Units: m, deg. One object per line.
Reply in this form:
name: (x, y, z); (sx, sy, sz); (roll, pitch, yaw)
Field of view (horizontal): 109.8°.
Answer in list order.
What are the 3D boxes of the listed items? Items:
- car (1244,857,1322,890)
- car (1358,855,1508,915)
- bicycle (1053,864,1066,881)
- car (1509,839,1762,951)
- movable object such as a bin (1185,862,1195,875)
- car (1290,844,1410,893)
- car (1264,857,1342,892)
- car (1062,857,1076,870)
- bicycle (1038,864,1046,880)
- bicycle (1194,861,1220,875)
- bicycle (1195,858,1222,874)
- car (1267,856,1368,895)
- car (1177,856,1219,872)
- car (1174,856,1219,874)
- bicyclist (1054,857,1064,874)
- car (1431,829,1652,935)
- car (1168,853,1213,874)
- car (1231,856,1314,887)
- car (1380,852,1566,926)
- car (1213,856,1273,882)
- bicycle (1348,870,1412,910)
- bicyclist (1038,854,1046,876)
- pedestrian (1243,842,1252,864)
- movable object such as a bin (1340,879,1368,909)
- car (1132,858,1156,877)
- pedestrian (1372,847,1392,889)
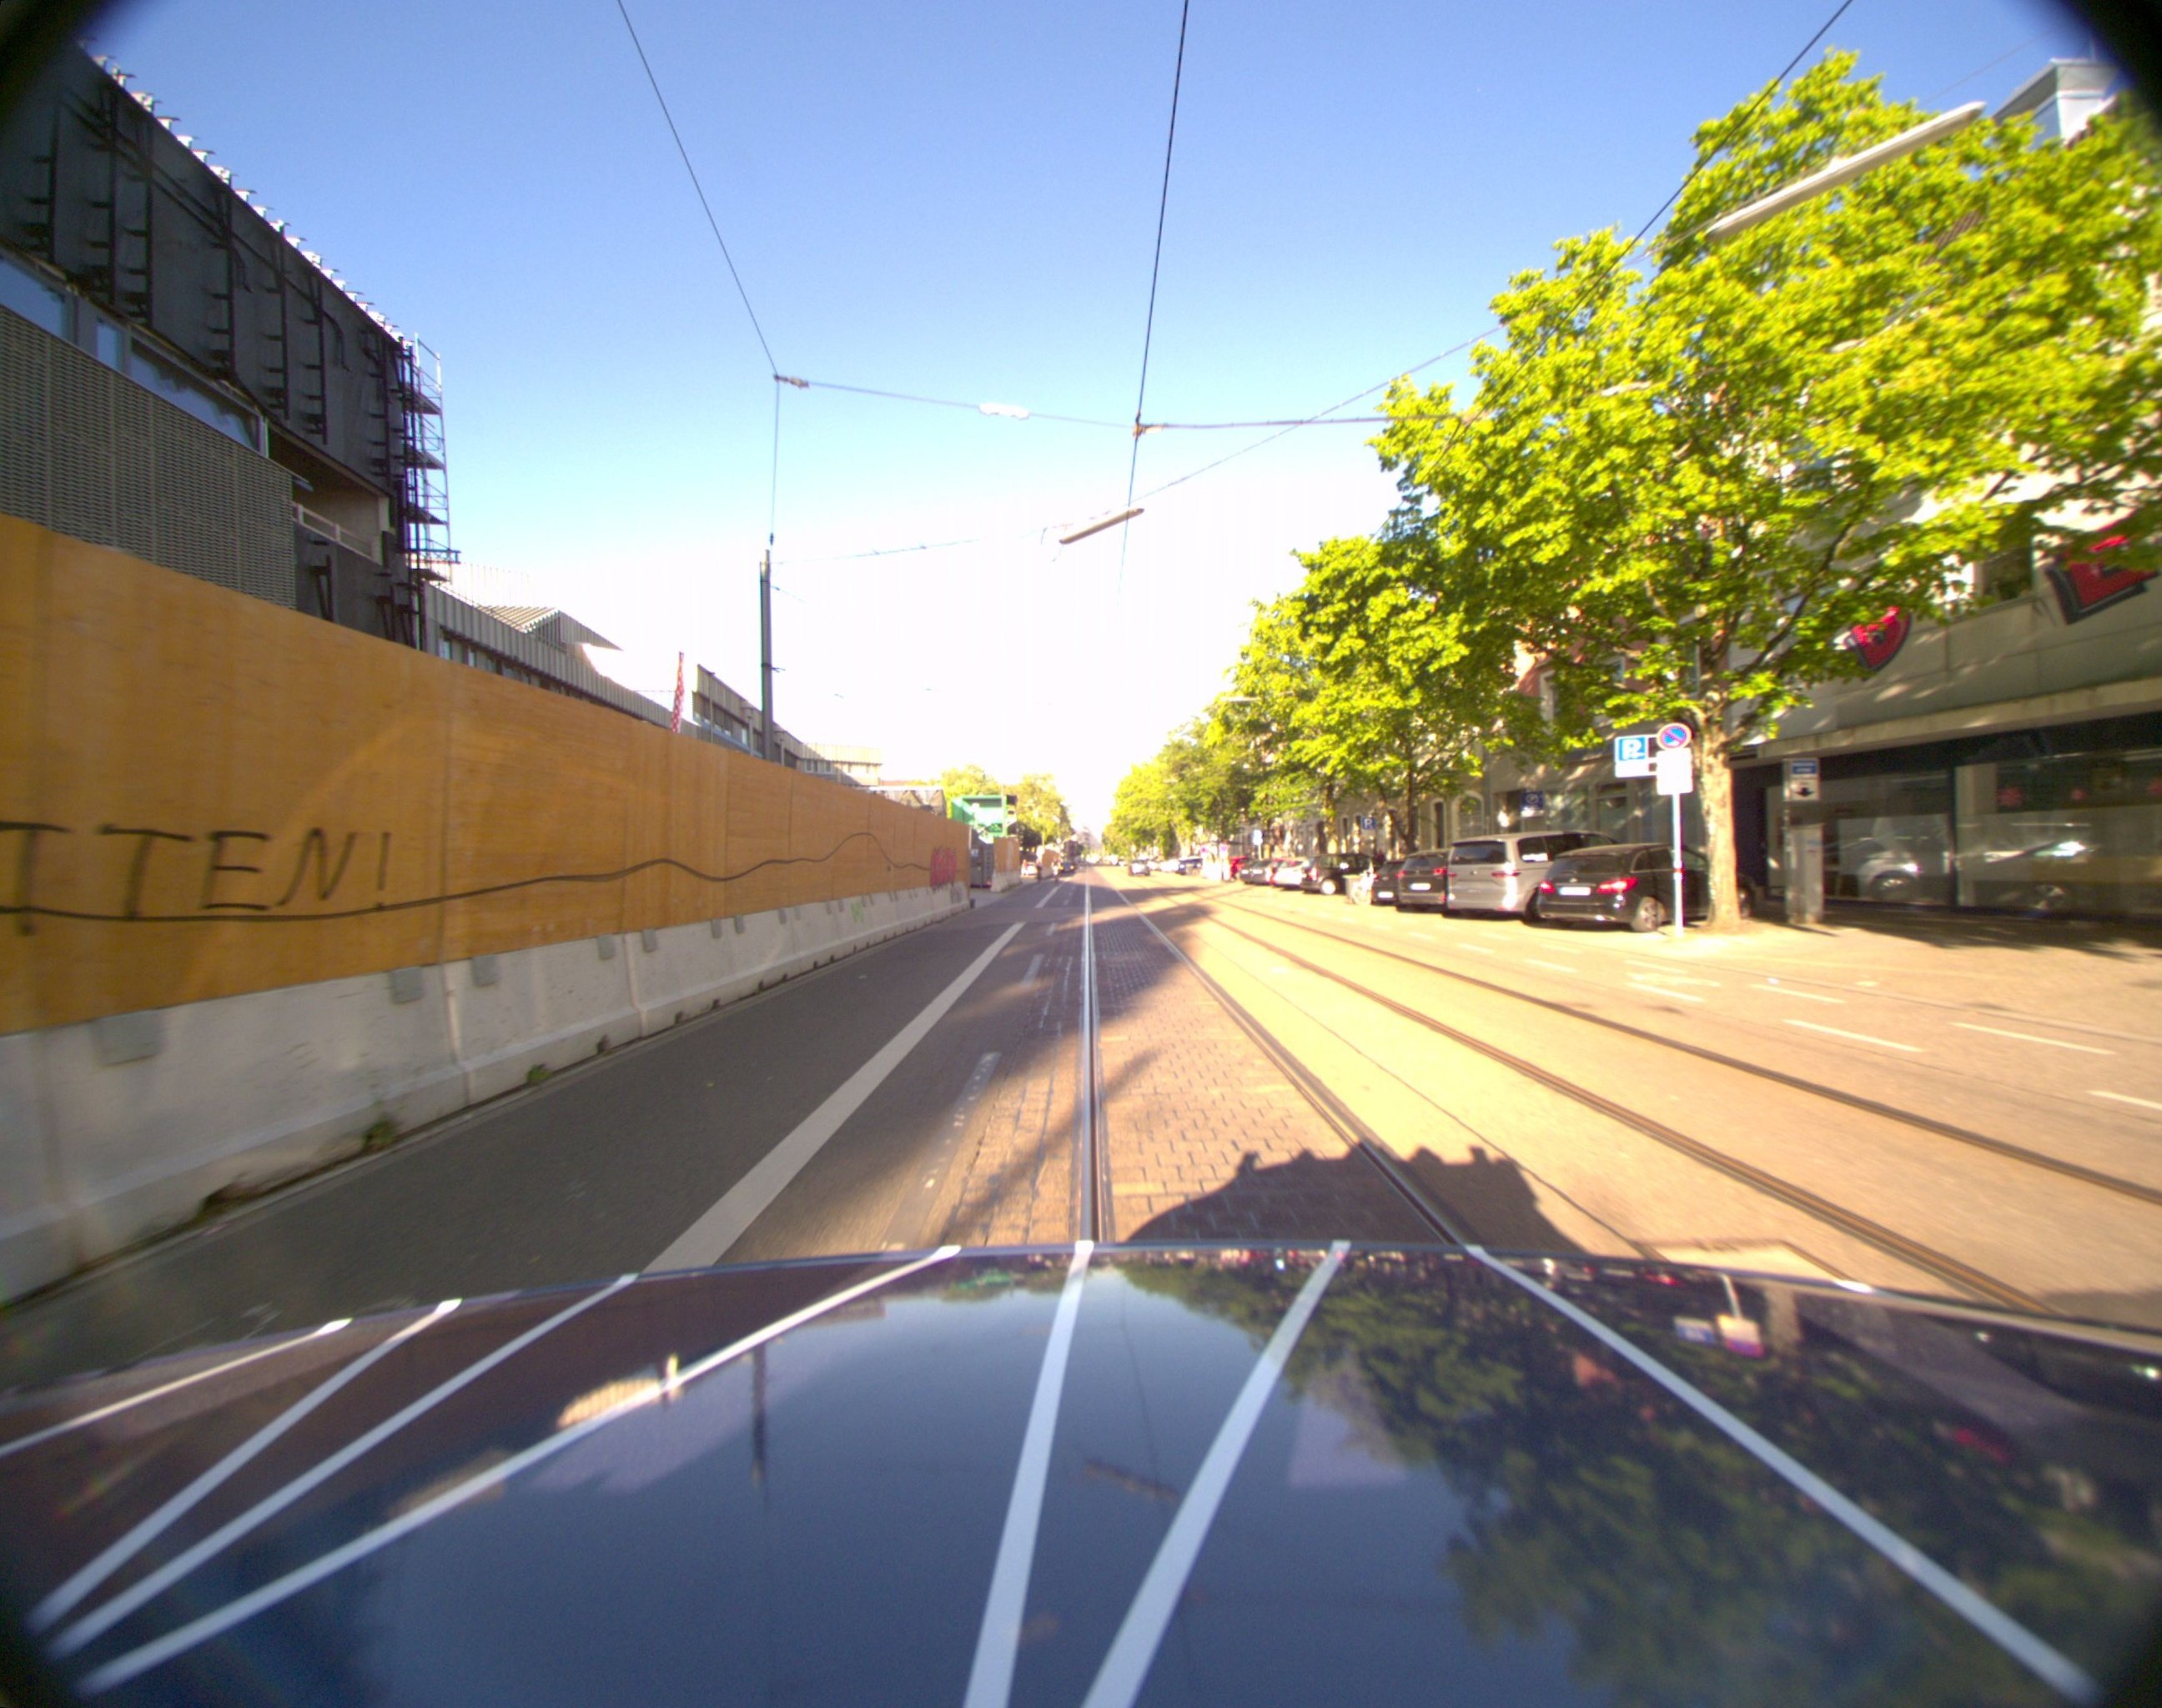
car: (10.631, 1.000, 39.980); (3.689, 1.462, 1.749); (-3, 1, -28)
car: (10.501, 0.870, 22.690); (3.872, 1.468, 1.840); (-3, 1, -21)
bicycle: (-1.538, 1.302, 54.887); (0.669, 1.148, 2.276); (-2, 0, 3)
car: (10.528, 0.692, 14.436); (4.300, 1.657, 1.908); (-4, 1, -23)
movable object such as a bin: (9.277, 1.259, 64.757); (0.685, 1.071, 0.710); (-4, 0, 2)
car: (10.803, 0.581, 30.750); (4.115, 1.668, 1.841); (-4, 0, -2)
car: (10.816, 0.973, 37.028); (3.378, 1.484, 1.610); (-3, 0, -27)
car: (-1.607, 1.327, 105.099); (1.749, 1.612, 4.171); (-1, -2, 1)
bicycle: (-2.813, 1.307, 55.032); (0.558, 1.120, 2.275); (0, 0, -2)
bicycle: (10.375, 1.154, 62.623); (1.972, 1.073, 0.568); (-4, 0, 3)
bicycle: (10.259, 0.974, 61.296); (2.007, 1.081, 0.567); (-6, 0, 3)
car: (10.645, 0.944, 34.152); (4.122, 1.503, 1.837); (-3, 0, -26)
car: (11.681, 1.013, 76.017); (3.651, 1.520, 1.884); (-1, 0, -19)
car: (10.797, 0.989, 70.888); (3.907, 1.599, 1.570); (-1, 0, -25)
bicyclist: (-1.583, 0.844, 54.606); (0.653, 1.230, 0.353); (0, 0, -1)
car: (10.396, 0.560, 17.178); (4.372, 1.975, 1.946); (-3, 1, -21)
car: (11.897, 1.002, 82.764); (4.448, 2.105, 2.163); (-2, 0, -2)
car: (10.752, 0.975, 42.567); (4.208, 1.482, 1.940); (-3, 0, -26)
car: (10.027, 0.836, 19.443); (4.253, 1.675, 1.808); (-1, 0, -20)
car: (11.124, 1.011, 52.137); (3.629, 1.544, 1.666); (-3, -1, -25)
bicycle: (9.491, 1.129, 24.140); (1.973, 1.138, 0.492); (-3, 1, -17)
bicyclist: (-2.829, 0.818, 55.406); (0.557, 1.603, 0.576); (0, 0, -1)
pedestrian: (14.156, -0.086, 64.670); (0.645, 1.827, 0.624); (-1, 0, 2)
movable object such as a bin: (8.810, 1.278, 24.522); (0.577, 0.908, 0.575); (-3, -1, -15)
car: (5.693, 1.174, 69.270); (1.932, 1.620, 4.249); (-1, 0, 1)
pedestrian: (14.319, 0.657, 36.178); (0.733, 2.002, 0.556); (-1, 0, 2)
